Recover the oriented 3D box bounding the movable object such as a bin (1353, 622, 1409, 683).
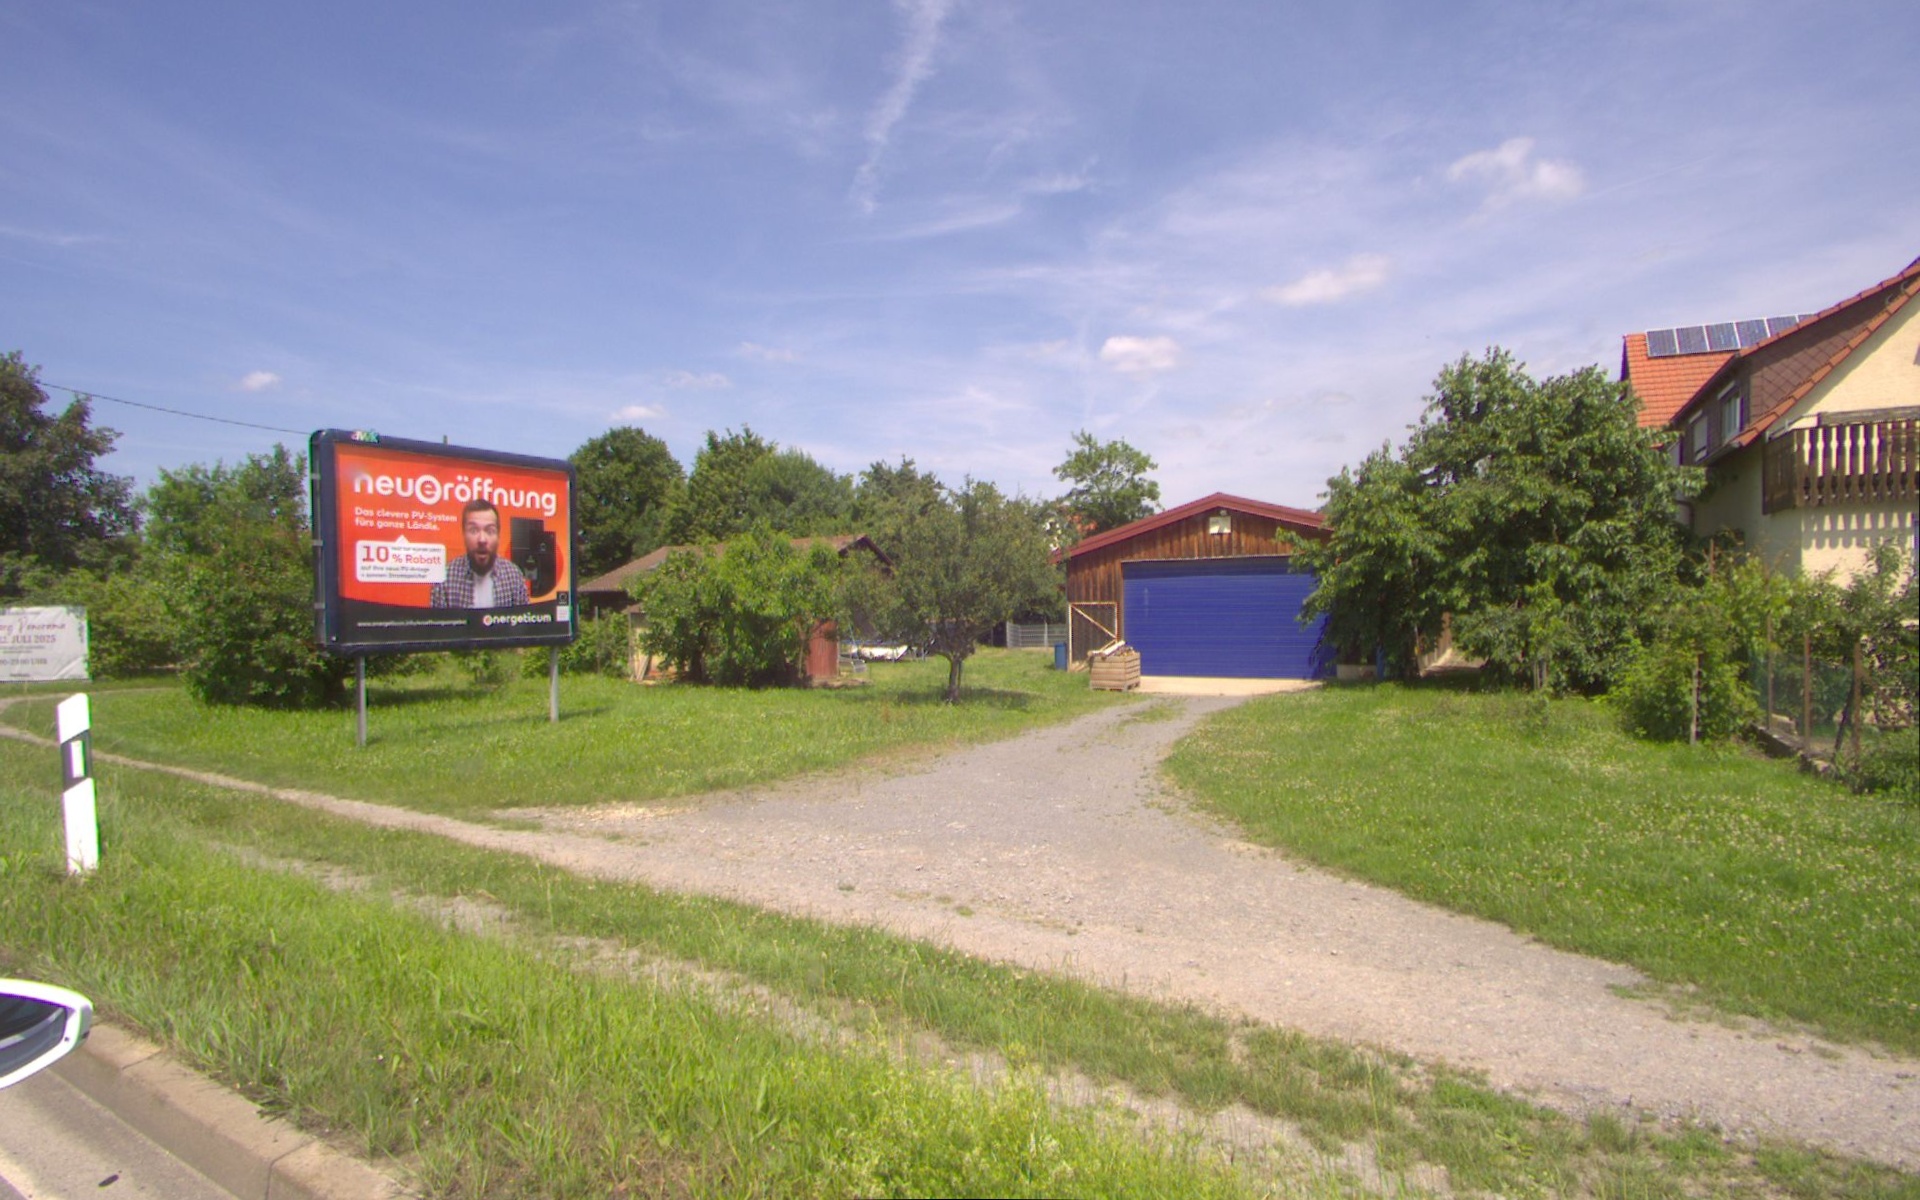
[{"bbox_3d":[10.222,1.258,24.308,1.049,1.415,1.271,0,-1,33],"label":"movable object such as a bin"}]

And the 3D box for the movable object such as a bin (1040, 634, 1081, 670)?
[{"bbox_3d":[3.057,1.576,30.346,1.044,1.046,1.040,0,-1,17],"label":"movable object such as a bin"}]
